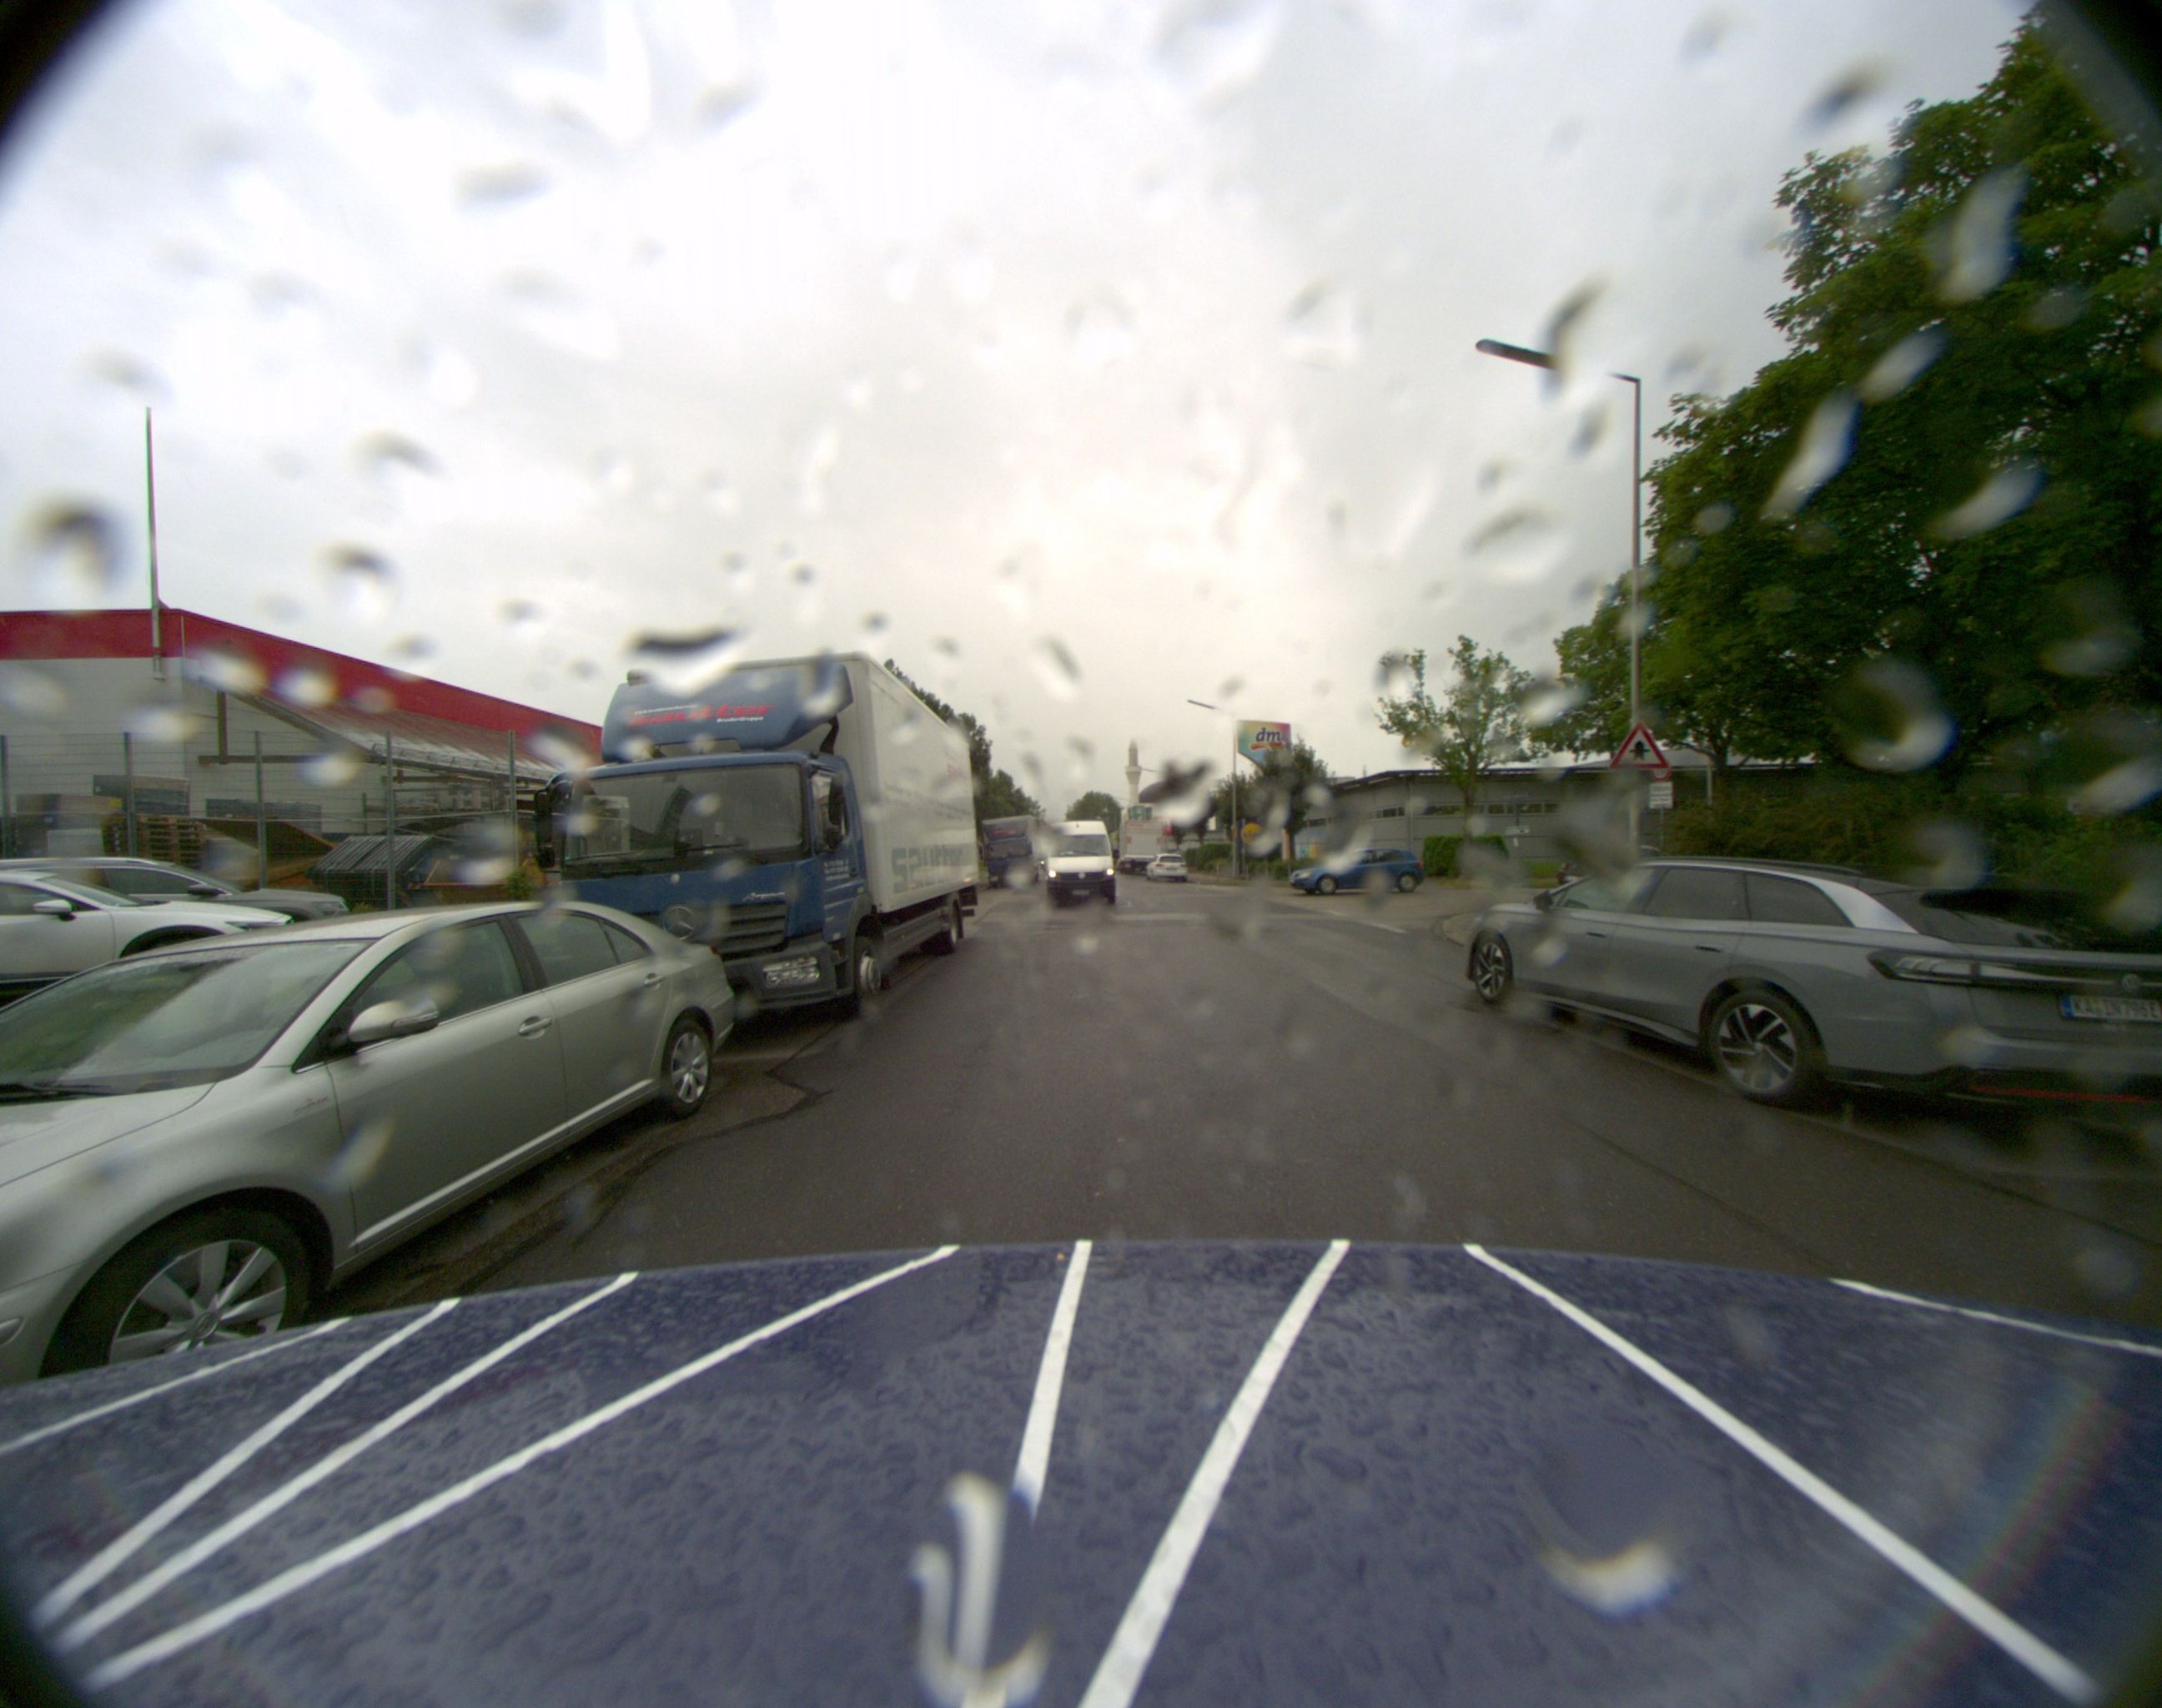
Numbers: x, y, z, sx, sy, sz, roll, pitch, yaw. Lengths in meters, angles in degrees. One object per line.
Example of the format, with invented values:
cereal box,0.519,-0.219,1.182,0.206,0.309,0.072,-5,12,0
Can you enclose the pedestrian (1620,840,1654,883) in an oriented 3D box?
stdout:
pedestrian,22.104,0.282,30.242,0.782,1.664,0.758,-1,1,-3

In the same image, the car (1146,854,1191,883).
car,4.618,0.745,40.630,1.840,1.426,4.491,0,0,0

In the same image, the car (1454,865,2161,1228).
car,5.029,0.942,5.864,1.814,1.519,4.746,2,1,-1

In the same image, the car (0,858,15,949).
car,-17.459,0.788,10.545,1.402,1.417,2.746,-1,1,-1

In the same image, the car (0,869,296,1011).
car,-12.169,0.972,8.940,1.770,1.461,4.008,-1,1,45

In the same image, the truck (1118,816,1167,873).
truck,4.342,-0.663,55.088,2.889,3.724,7.866,-1,1,0

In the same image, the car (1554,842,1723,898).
car,15.879,0.453,21.786,3.574,1.446,1.639,-1,-1,3

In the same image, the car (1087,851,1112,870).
car,1.421,0.462,60.050,1.735,1.432,3.999,-1,0,-2

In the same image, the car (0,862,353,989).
car,-13.449,0.930,11.066,1.868,1.518,4.008,-1,1,45

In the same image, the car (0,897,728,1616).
car,-3.447,1.058,3.316,1.802,1.433,4.344,-1,0,-1

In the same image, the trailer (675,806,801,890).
trailer,-19.215,-0.336,43.409,2.974,4.218,9.469,-1,0,-1

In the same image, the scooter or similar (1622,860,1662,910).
scooter or similar,13.661,0.734,18.512,0.284,1.169,1.060,-1,1,7

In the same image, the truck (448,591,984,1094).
truck,-3.438,-0.117,10.606,2.748,3.767,9.297,-4,1,0

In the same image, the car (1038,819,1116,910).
car,0.010,0.266,23.640,2.084,2.466,5.347,-1,0,3

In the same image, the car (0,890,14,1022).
car,-11.705,1.036,5.713,1.702,1.279,4.008,-1,1,45

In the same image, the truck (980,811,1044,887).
truck,-3.711,-0.289,42.532,2.678,3.671,8.007,-4,1,-1

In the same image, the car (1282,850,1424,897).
car,8.766,0.598,24.691,3.997,1.432,1.736,-1,0,-1
